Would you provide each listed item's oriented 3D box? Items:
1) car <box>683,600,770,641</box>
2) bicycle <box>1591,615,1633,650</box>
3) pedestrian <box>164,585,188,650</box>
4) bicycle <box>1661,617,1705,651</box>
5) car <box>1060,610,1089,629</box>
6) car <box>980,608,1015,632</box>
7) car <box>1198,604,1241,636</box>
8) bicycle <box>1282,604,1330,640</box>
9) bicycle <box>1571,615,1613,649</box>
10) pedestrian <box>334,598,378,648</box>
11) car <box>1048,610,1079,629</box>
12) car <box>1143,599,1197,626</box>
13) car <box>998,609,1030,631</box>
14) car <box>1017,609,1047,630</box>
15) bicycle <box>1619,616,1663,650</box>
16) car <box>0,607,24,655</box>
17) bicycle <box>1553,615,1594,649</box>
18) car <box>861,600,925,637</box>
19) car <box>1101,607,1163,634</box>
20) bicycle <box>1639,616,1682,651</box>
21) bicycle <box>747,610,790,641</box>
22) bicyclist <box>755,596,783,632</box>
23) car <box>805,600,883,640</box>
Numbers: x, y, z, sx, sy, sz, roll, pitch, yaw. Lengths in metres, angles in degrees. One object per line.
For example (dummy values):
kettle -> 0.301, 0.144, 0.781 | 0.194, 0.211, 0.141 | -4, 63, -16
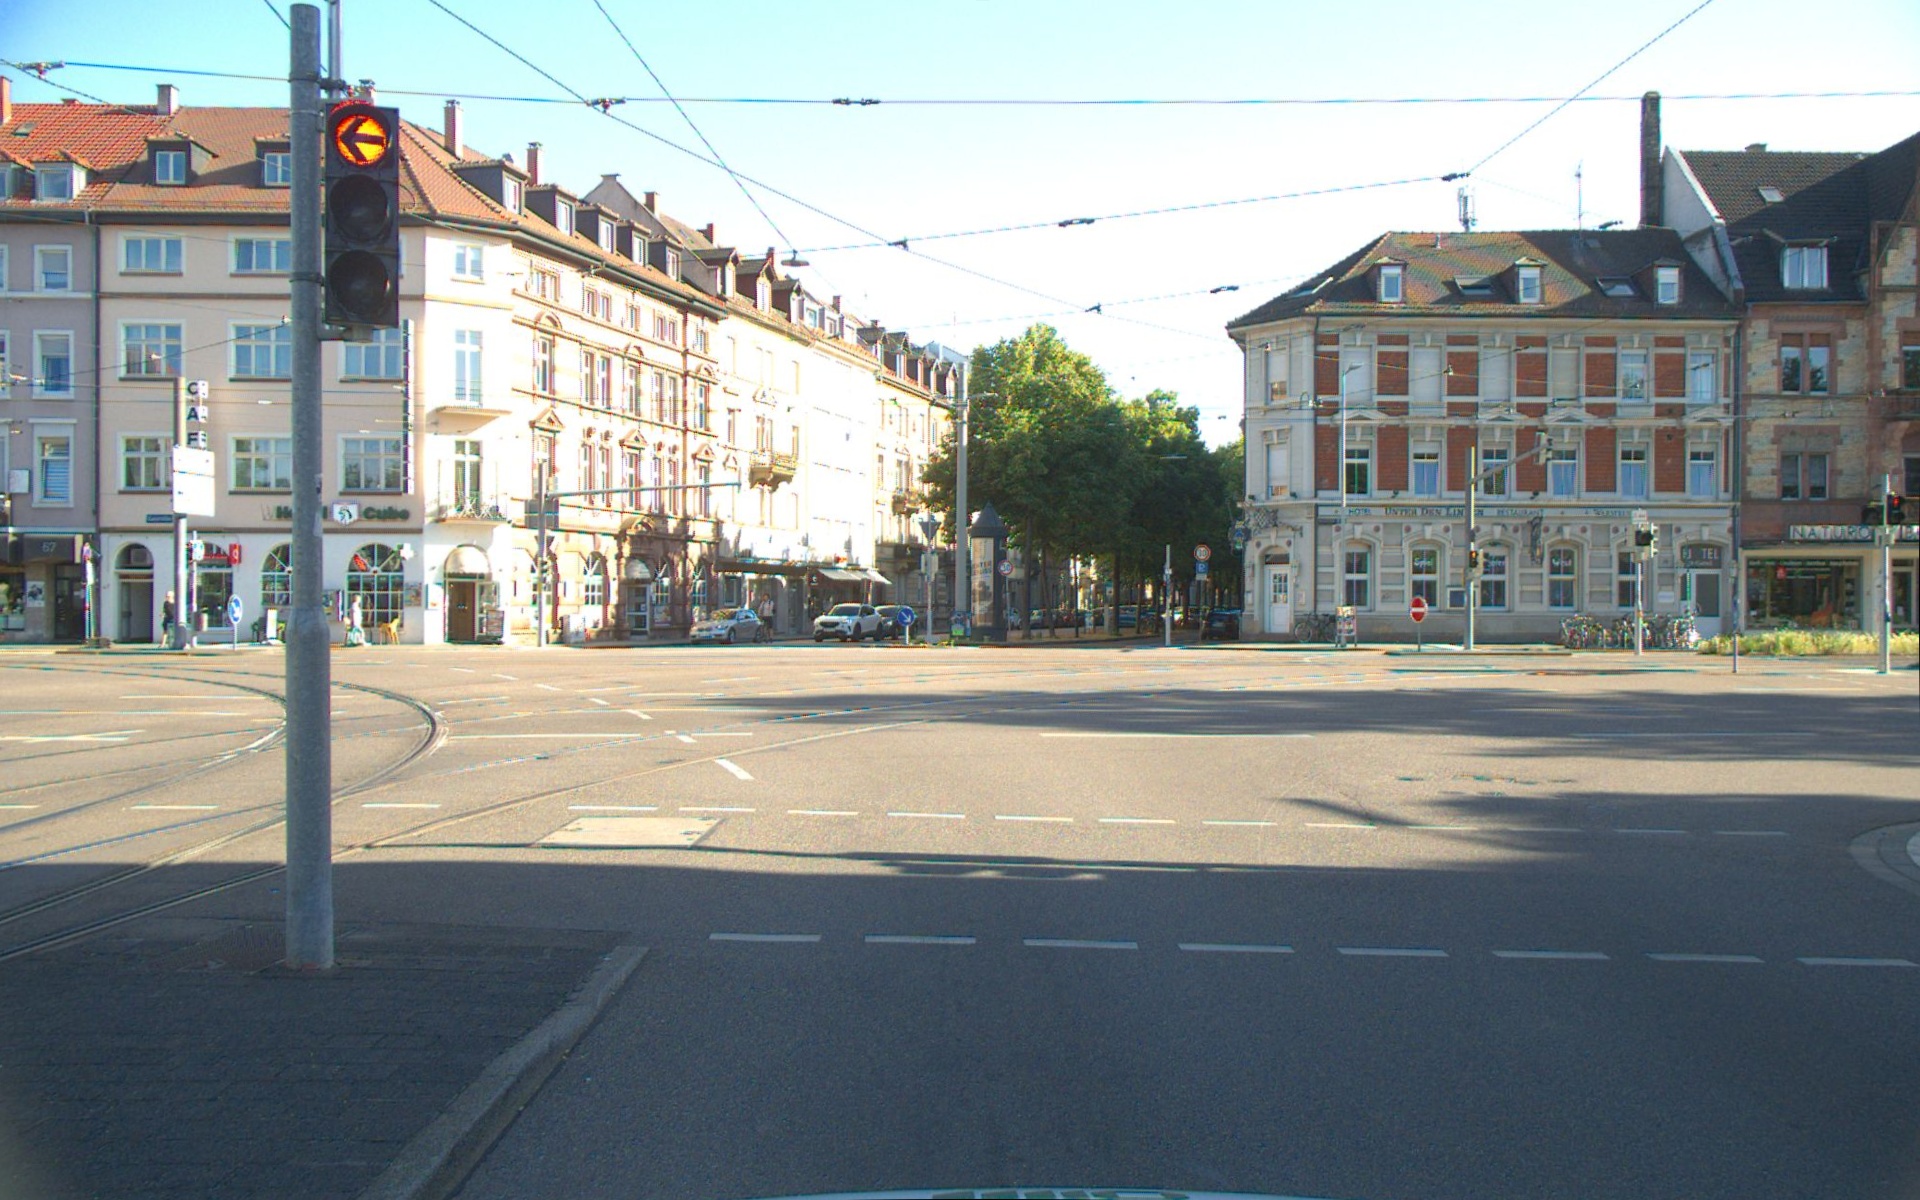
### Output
car -> -9.446, 0.813, 67.221 | 2.052, 1.572, 4.367 | 0, 0, 13
bicycle -> 21.121, 1.046, 53.592 | 0.593, 1.069, 1.641 | 0, 0, -6
pedestrian -> -24.663, 0.541, 52.036 | 0.498, 2.049, 0.505 | 0, 0, 2
bicycle -> 23.334, 1.084, 53.421 | 0.593, 1.069, 1.641 | 0, 0, -6
car -> 9.430, 1.577, 136.502 | 1.704, 1.422, 4.127 | 3, 0, 13
car -> 2.534, 1.313, 110.016 | 1.704, 1.422, 4.127 | 3, 0, 9
car -> 12.980, 1.004, 82.465 | 1.616, 1.551, 3.755 | 0, -1, 17
bicycle -> 11.979, 0.763, 57.301 | 1.603, 1.243, 0.607 | 0, 0, 16
bicycle -> 20.469, 1.035, 53.566 | 0.593, 1.069, 1.641 | 0, 0, -6
pedestrian -> -19.744, 0.755, 54.055 | 1.043, 1.618, 1.042 | 0, 0, 1
car -> 8.253, 1.541, 131.706 | 1.704, 1.422, 4.127 | 3, 0, 13
car -> 16.966, 1.015, 133.664 | 4.026, 1.952, 1.746 | 3, 0, 21
car -> 3.811, 1.360, 115.840 | 1.704, 1.422, 4.127 | 3, 0, 9
car -> 5.343, 1.416, 122.840 | 1.704, 1.422, 4.127 | 3, 0, 9
bicycle -> 21.947, 1.059, 53.324 | 0.593, 1.069, 1.641 | 0, 0, -6
car -> -32.059, 1.000, 52.157 | 3.910, 1.489, 1.998 | -1, 1, -6
bicycle -> 19.829, 1.024, 53.511 | 0.593, 1.069, 1.641 | 0, 0, -6
car -> -2.954, 0.798, 73.473 | 1.951, 1.540, 4.004 | 0, 0, 11
car -> 12.012, 1.404, 115.383 | 4.024, 1.675, 1.748 | 3, 0, 15
bicycle -> 22.608, 1.071, 53.400 | 0.593, 1.069, 1.641 | 0, 0, -6
bicycle -> -7.569, 0.996, 65.495 | 0.734, 1.155, 2.812 | 0, 0, 14
bicyclist -> -7.555, 0.544, 65.465 | 0.776, 1.399, 1.109 | 0, 0, 14
car -> -4.647, 0.791, 67.080 | 2.052, 1.525, 4.003 | 0, 0, 13
